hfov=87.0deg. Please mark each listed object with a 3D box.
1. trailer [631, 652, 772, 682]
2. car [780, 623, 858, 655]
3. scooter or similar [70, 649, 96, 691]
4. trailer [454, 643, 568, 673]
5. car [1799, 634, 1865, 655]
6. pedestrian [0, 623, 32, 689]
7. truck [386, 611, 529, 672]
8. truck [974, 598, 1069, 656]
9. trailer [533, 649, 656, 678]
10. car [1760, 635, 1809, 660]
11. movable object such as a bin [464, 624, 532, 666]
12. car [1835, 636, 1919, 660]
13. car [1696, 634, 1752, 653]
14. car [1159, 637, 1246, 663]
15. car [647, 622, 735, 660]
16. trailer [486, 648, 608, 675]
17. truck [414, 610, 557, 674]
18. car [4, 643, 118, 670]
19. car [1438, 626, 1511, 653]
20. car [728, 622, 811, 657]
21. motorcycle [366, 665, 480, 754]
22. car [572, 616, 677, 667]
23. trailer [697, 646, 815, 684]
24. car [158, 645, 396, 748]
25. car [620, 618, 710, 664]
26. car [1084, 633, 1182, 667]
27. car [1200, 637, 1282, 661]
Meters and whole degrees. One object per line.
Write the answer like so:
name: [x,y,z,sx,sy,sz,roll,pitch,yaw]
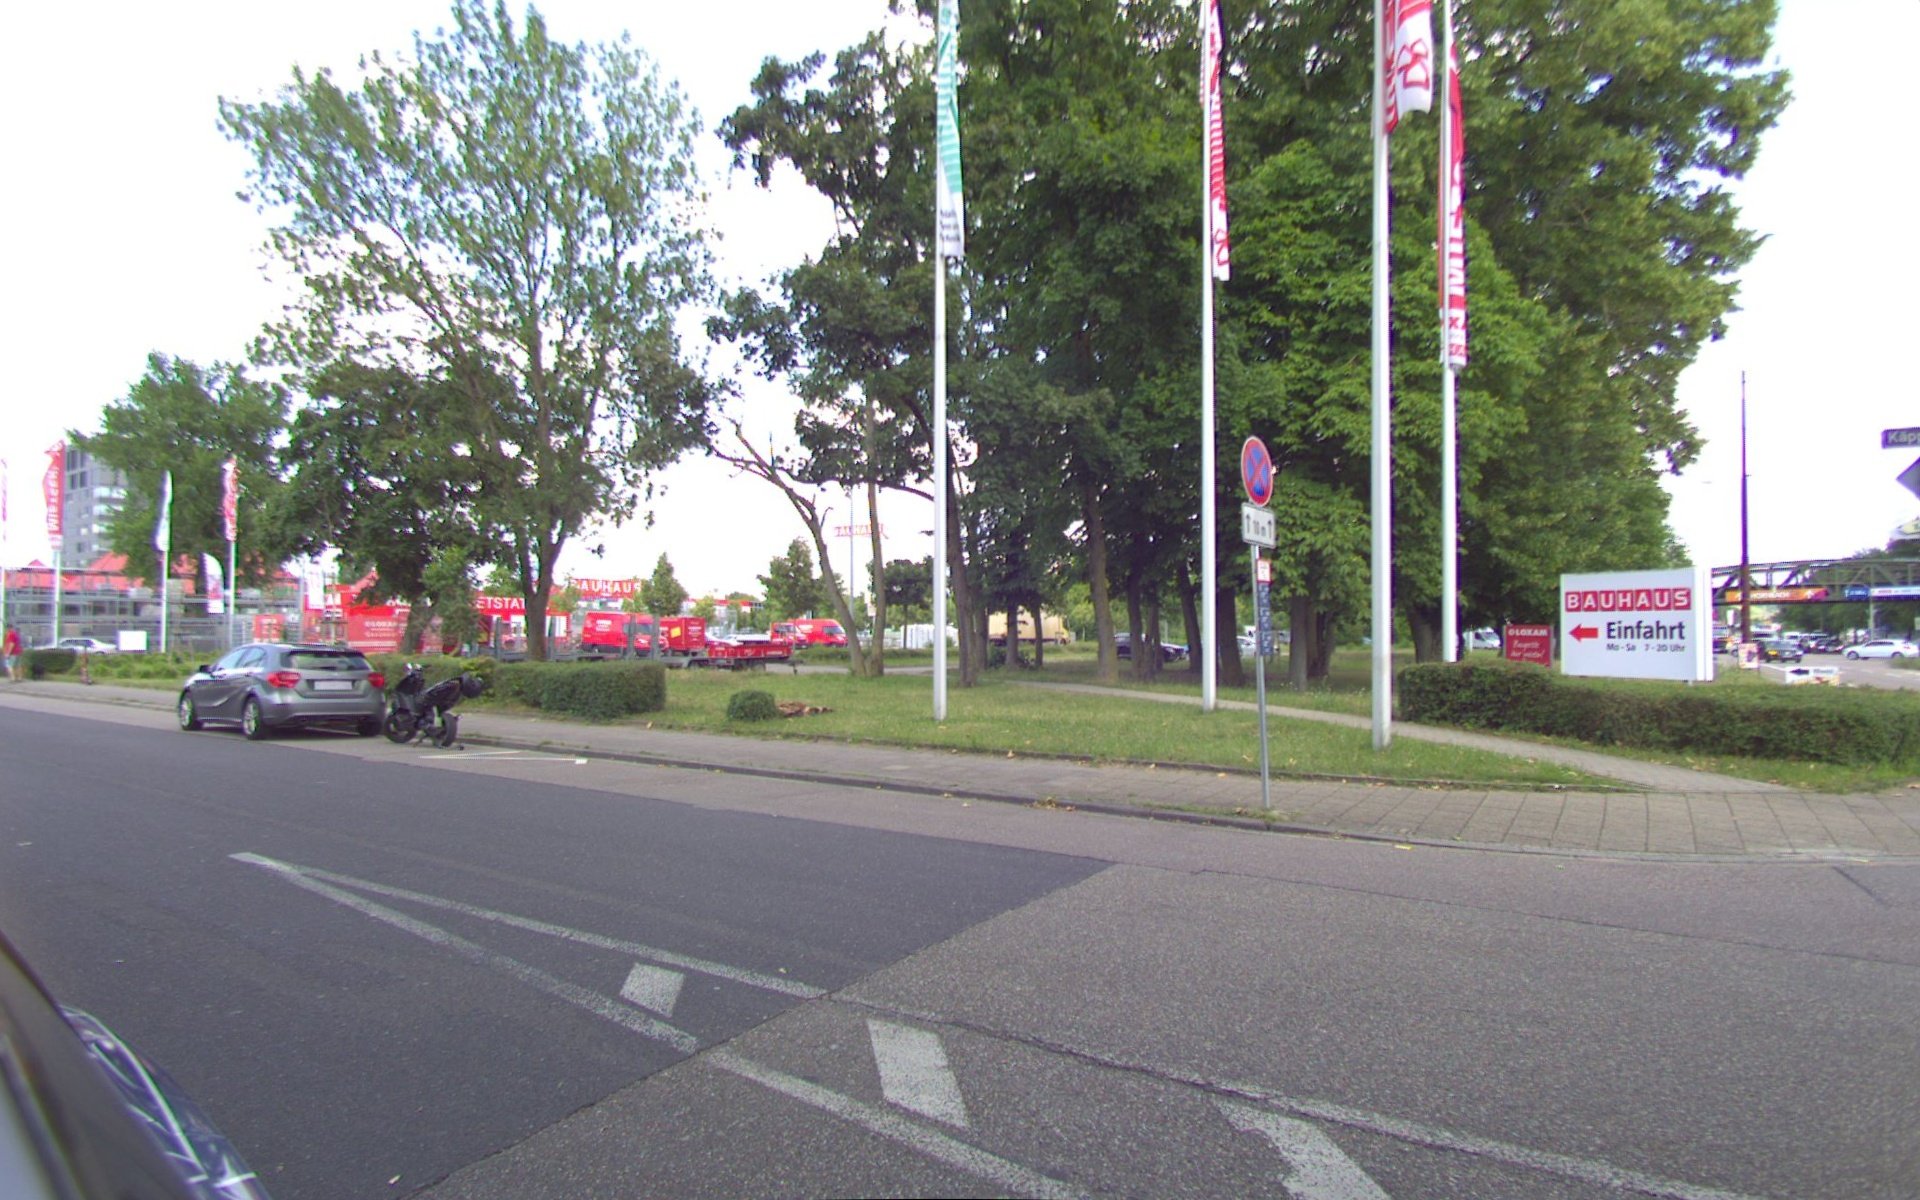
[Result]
trailer: [-9.226,2.373,36.414,2.185,0.920,4.549,-3,-3,39]
car: [-11.447,3.123,81.853,6.422,2.434,2.247,0,-1,34]
scooter or similar: [-26.270,2.086,30.309,0.511,1.202,1.281,1,-2,-44]
trailer: [-18.935,2.430,42.862,1.667,1.129,4.201,0,-1,32]
car: [78.037,3.984,90.628,1.859,1.798,4.012,1,-2,-19]
pedestrian: [-29.822,1.739,31.767,0.883,2.029,0.802,-1,-2,34]
truck: [-23.061,1.863,46.711,1.812,2.613,5.702,0,-1,36]
truck: [4.585,1.959,73.470,2.981,3.979,8.252,0,-1,34]
trailer: [-14.202,2.450,39.532,2.017,0.920,4.201,0,-1,32]
car: [52.262,3.005,64.215,1.863,1.497,3.957,-1,-2,31]
movable object such as a bin: [-26.062,2.515,57.053,3.537,2.292,1.976,-2,-3,35]
car: [64.084,3.347,70.713,1.842,1.569,4.013,1,-2,-23]
car: [74.764,4.244,99.061,1.859,1.798,4.012,1,-2,-19]
car: [13.728,2.799,57.318,4.400,1.423,1.976,-1,-2,35]
car: [-18.757,2.783,70.482,6.422,2.434,2.247,0,-1,34]
trailer: [-16.891,2.507,41.582,2.153,0.920,4.201,0,-1,32]
truck: [-20.730,1.793,44.480,1.775,2.613,5.500,0,-1,35]
car: [-52.297,3.247,58.965,1.950,1.465,4.643,-2,-3,35]
car: [47.536,3.643,93.614,2.325,2.461,5.929,1,-2,-22]
car: [-14.416,2.962,76.500,6.422,2.434,2.247,0,-1,34]
motorcycle: [-7.596,1.520,14.282,1.798,1.147,0.616,-2,-6,35]
car: [-19.011,2.294,57.260,6.424,2.613,2.246,0,-1,35]
trailer: [-7.010,2.207,35.007,1.713,1.200,3.778,-3,-3,40]
car: [-10.923,1.463,16.089,4.322,1.431,1.694,-2,-5,36]
car: [-18.136,2.447,62.140,5.710,2.613,2.246,0,-1,35]
car: [8.136,2.330,47.771,4.346,1.523,1.555,-1,-2,34]
car: [17.159,2.974,61.840,4.400,1.423,1.976,-1,-2,35]
